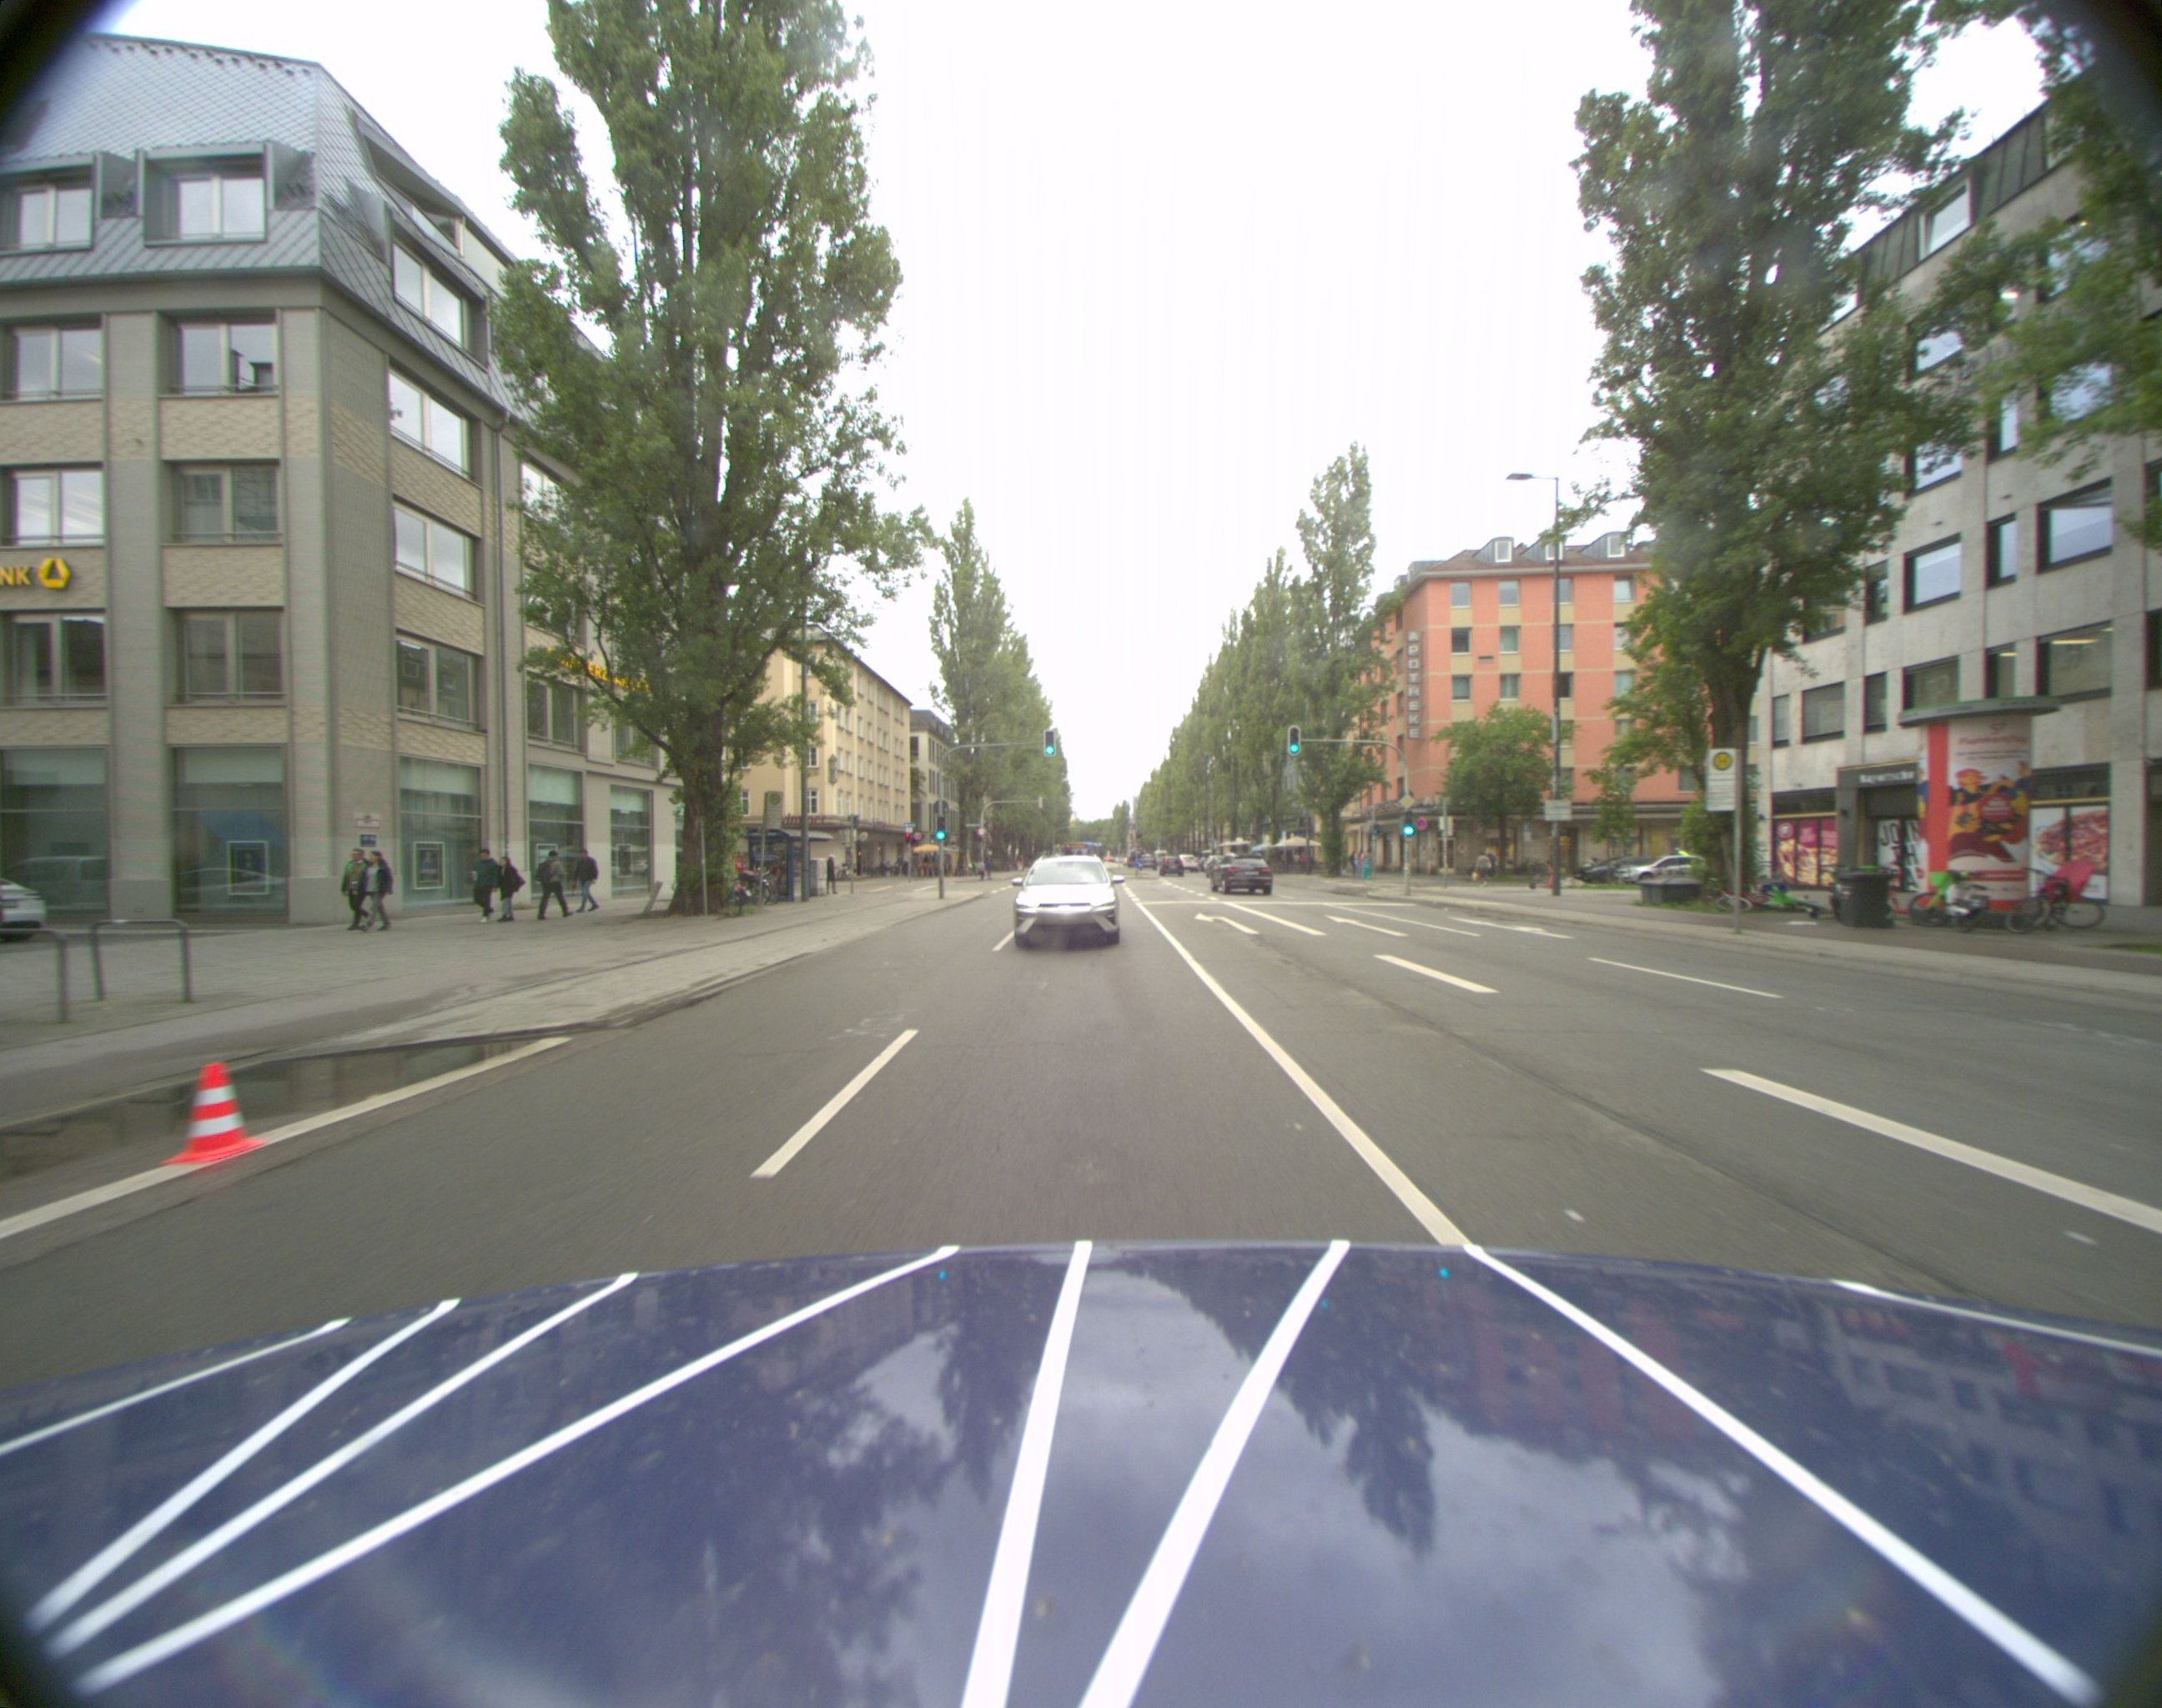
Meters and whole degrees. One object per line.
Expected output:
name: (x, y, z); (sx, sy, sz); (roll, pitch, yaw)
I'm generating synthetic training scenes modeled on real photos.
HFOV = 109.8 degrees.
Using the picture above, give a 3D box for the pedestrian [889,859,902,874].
pedestrian: (-14.833, 0.967, 60.799); (0.870, 1.192, 0.699); (-1, 1, 2)

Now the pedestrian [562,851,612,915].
pedestrian: (-14.350, 0.825, 22.096); (0.820, 1.807, 0.890); (-1, 1, 0)

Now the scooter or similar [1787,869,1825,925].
scooter or similar: (15.613, 0.902, 16.359); (1.565, 1.107, 0.388); (-1, 1, -39)

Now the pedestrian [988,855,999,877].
pedestrian: (-6.483, 0.877, 56.192); (0.767, 1.600, 0.864); (0, 1, -3)

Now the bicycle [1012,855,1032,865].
bicycle: (-7.777, 0.769, 100.072); (2.577, 1.208, 0.965); (-1, 1, 1)

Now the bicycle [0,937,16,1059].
bicycle: (-10.083, 1.232, 6.144); (1.765, 1.038, 0.483); (1, 1, -17)

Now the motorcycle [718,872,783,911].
motorcycle: (-9.930, 1.130, 22.823); (1.728, 1.133, 0.510); (0, 1, 2)

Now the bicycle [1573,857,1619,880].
bicycle: (28.401, 0.806, 41.945); (2.060, 1.177, 0.538); (-2, 1, 9)

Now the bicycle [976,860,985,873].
bicycle: (-8.323, 1.008, 62.999); (0.510, 1.042, 1.770); (-1, 0, -1)

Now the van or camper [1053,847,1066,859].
van or camper: (-3.334, -0.171, 117.536); (1.795, 1.894, 4.566); (-1, 0, 2)

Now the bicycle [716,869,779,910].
bicycle: (-10.321, 1.100, 23.525); (1.728, 1.232, 0.449); (0, 1, 2)

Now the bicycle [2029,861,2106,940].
bicycle: (17.546, 0.793, 13.507); (1.957, 1.293, 0.584); (-1, 1, -30)

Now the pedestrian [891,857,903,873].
pedestrian: (-15.177, 0.908, 62.647); (0.777, 1.257, 0.699); (-1, 1, 1)

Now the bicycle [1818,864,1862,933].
bicycle: (15.832, 0.890, 15.839); (1.958, 1.282, 0.507); (-3, 1, -41)

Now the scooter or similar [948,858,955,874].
scooter or similar: (-10.057, 0.948, 59.064); (0.408, 1.236, 1.370); (-1, 0, -15)

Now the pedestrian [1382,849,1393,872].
pedestrian: (22.310, 0.470, 55.283); (0.588, 1.681, 0.514); (0, 1, 1)

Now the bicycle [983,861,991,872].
bicycle: (-8.383, 1.094, 68.041); (0.510, 0.970, 1.770); (-1, 0, -1)

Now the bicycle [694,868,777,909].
bicycle: (-10.980, 1.103, 24.181); (2.349, 1.245, 0.633); (-1, 1, 1)

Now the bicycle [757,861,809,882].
bicycle: (-19.594, 1.132, 49.974); (2.978, 1.245, 0.999); (-2, 1, 1)

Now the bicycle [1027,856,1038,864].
bicycle: (-7.904, 0.973, 122.784); (0.829, 1.403, 2.594); (-1, 0, -25)

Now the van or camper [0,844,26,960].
van or camper: (-19.501, 0.846, 11.692); (4.113, 1.856, 1.898); (-2, 1, 5)

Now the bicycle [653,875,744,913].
bicycle: (-10.845, 1.122, 21.594); (2.153, 1.011, 0.874); (-1, 0, 1)

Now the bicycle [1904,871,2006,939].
bicycle: (15.865, 0.900, 13.842); (0.507, 1.082, 1.812); (-1, 1, 24)

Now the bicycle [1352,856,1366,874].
bicycle: (18.216, 0.701, 49.794); (0.422, 1.135, 1.373); (-1, 1, 2)

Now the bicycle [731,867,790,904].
bicycle: (-11.102, 1.074, 26.281); (2.241, 1.245, 0.478); (-1, 1, 25)

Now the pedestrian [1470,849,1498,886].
pedestrian: (18.025, 0.606, 34.027); (0.780, 1.609, 0.934); (0, 1, 1)

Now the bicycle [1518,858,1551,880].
bicycle: (24.433, 0.800, 40.989); (0.416, 1.177, 2.062); (0, 0, -5)

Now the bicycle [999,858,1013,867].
bicycle: (-8.750, 1.004, 88.459); (1.666, 1.100, 0.396); (0, 1, -10)

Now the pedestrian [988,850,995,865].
pedestrian: (-11.290, 0.429, 95.925); (0.658, 1.840, 0.906); (0, 1, 3)

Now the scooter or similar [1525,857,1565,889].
scooter or similar: (19.277, 0.777, 31.599); (1.362, 1.331, 0.439); (0, 1, 21)

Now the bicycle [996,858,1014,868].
bicycle: (-8.378, 0.946, 83.755); (2.005, 1.077, 0.286); (0, 1, -8)

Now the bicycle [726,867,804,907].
bicycle: (-10.307, 1.078, 24.818); (2.321, 1.245, 0.477); (-1, 1, 1)

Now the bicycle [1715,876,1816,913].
bicycle: (16.713, 0.982, 18.562); (1.955, 0.510, 0.826); (-2, 22, -17)

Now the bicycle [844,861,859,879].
bicycle: (-15.577, 1.087, 51.618); (0.435, 1.164, 1.811); (-2, 1, 0)

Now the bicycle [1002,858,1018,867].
bicycle: (-8.361, 1.007, 89.744); (1.871, 1.129, 0.339); (0, 1, -7)

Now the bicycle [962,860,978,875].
bicycle: (-8.826, 1.058, 60.623); (0.405, 1.064, 1.813); (-6, 0, 17)

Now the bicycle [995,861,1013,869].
bicycle: (-8.499, 1.220, 84.112); (2.005, 0.939, 0.286); (-1, 1, -7)
